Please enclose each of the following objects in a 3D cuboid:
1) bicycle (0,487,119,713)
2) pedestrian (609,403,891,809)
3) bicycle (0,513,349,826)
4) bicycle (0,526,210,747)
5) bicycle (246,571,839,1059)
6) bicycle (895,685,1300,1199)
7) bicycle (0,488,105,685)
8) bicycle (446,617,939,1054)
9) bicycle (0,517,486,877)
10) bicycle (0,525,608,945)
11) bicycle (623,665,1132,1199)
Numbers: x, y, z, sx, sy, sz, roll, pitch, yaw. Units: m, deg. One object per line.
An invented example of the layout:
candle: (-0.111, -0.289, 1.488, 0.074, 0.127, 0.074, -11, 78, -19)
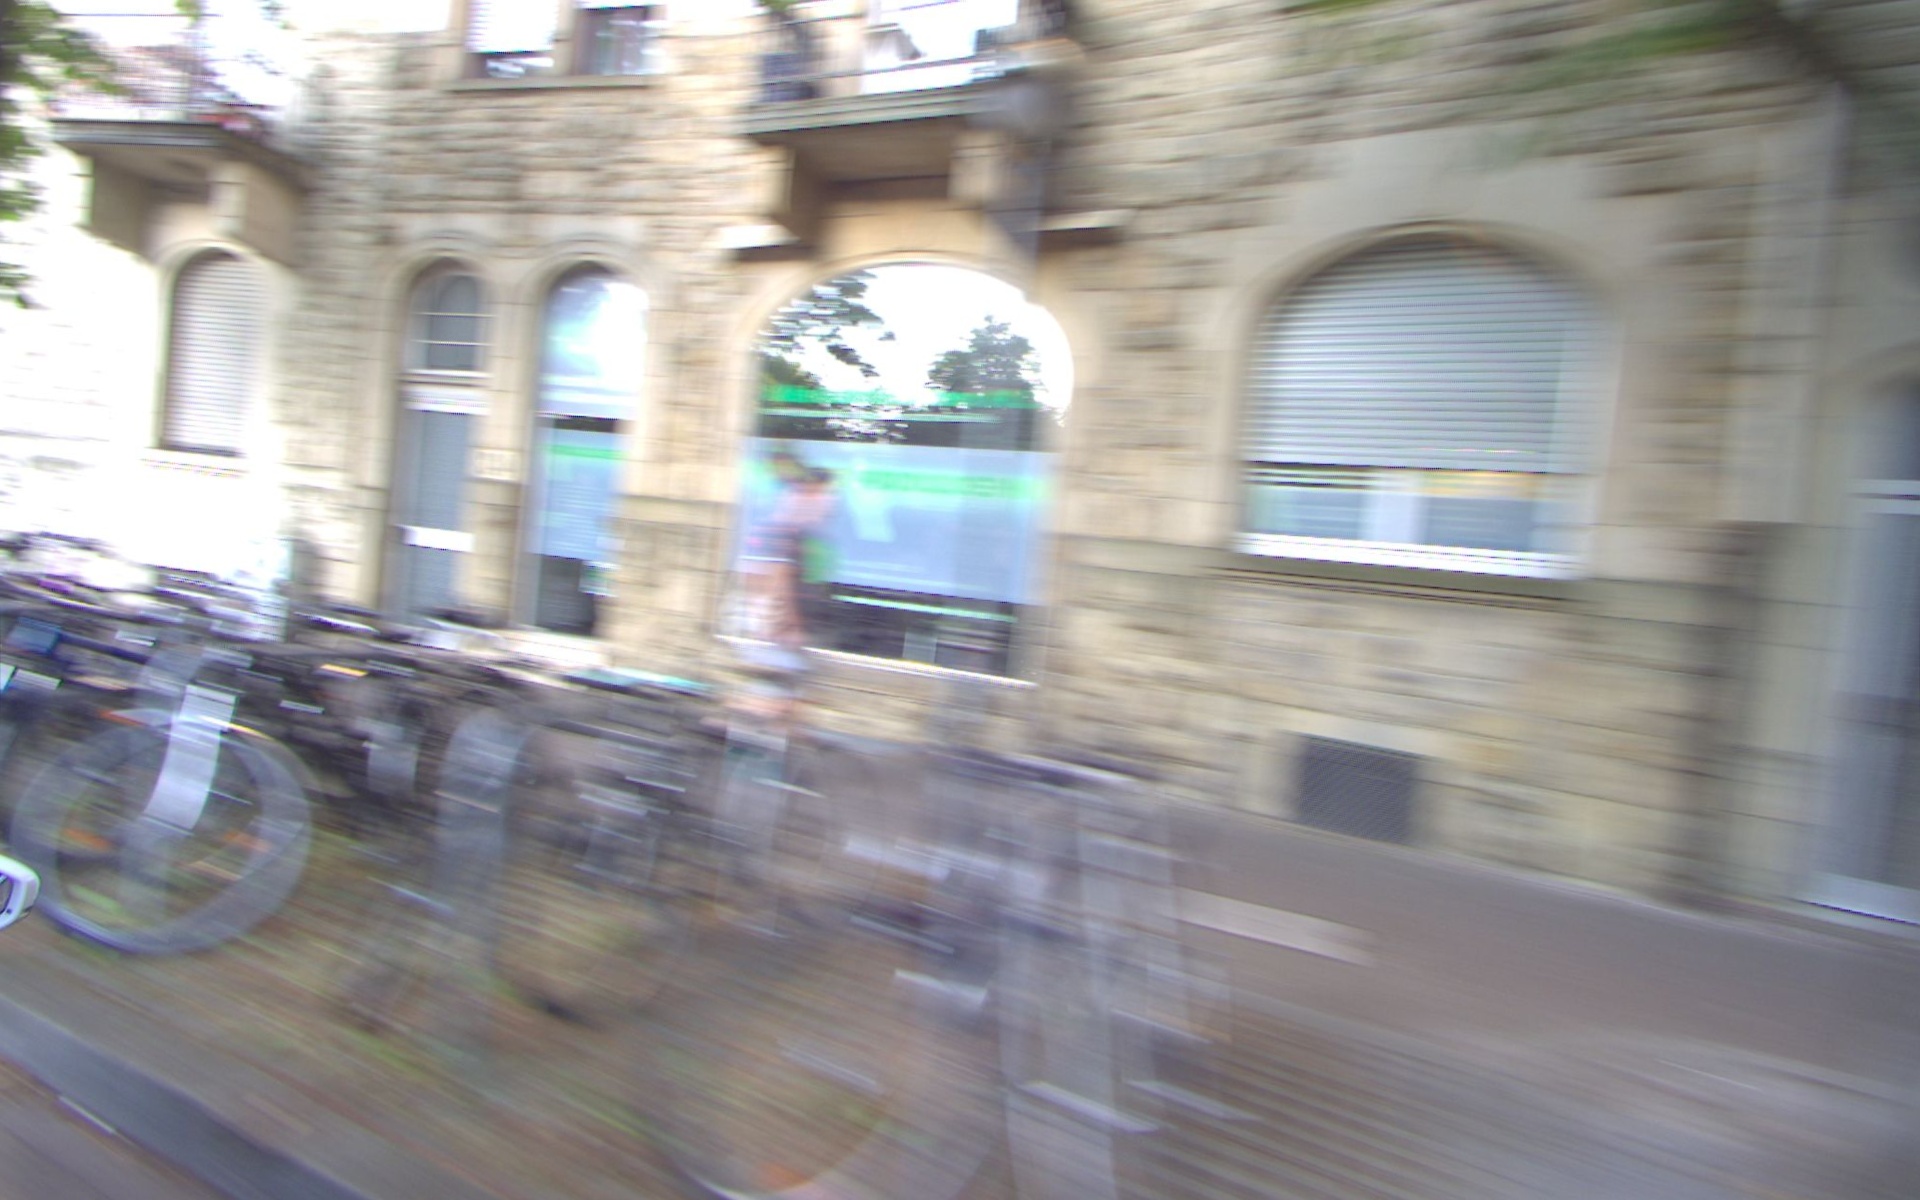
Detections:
bicycle: (-5.721, -0.035, 5.339, 0.686, 1.252, 1.792, 7, 1, 15)
pedestrian: (-1.225, 0.009, 5.966, 1.042, 2.114, 1.011, 8, 3, 28)
bicycle: (-3.777, 0.254, 4.404, 0.628, 1.177, 1.891, 7, 1, 15)
bicycle: (-4.943, 0.158, 5.035, 0.686, 1.051, 1.806, 7, 1, 15)
bicycle: (-1.209, 0.577, 3.283, 0.478, 1.143, 1.670, 15, 5, 32)
bicycle: (0.474, 0.830, 2.588, 0.477, 1.092, 1.673, 7, 1, 24)
bicycle: (-6.507, -0.119, 6.193, 0.639, 1.252, 1.793, 7, 1, 14)
bicycle: (-0.776, 0.658, 3.442, 0.478, 1.092, 1.671, 7, 1, 32)
bicycle: (-3.065, 0.337, 4.226, 0.629, 1.177, 1.889, 7, 1, 26)
bicycle: (-2.387, 0.421, 3.923, 0.692, 1.177, 1.889, 7, 1, 26)
bicycle: (-0.057, 0.764, 2.633, 0.477, 1.092, 1.673, 7, 1, 24)
